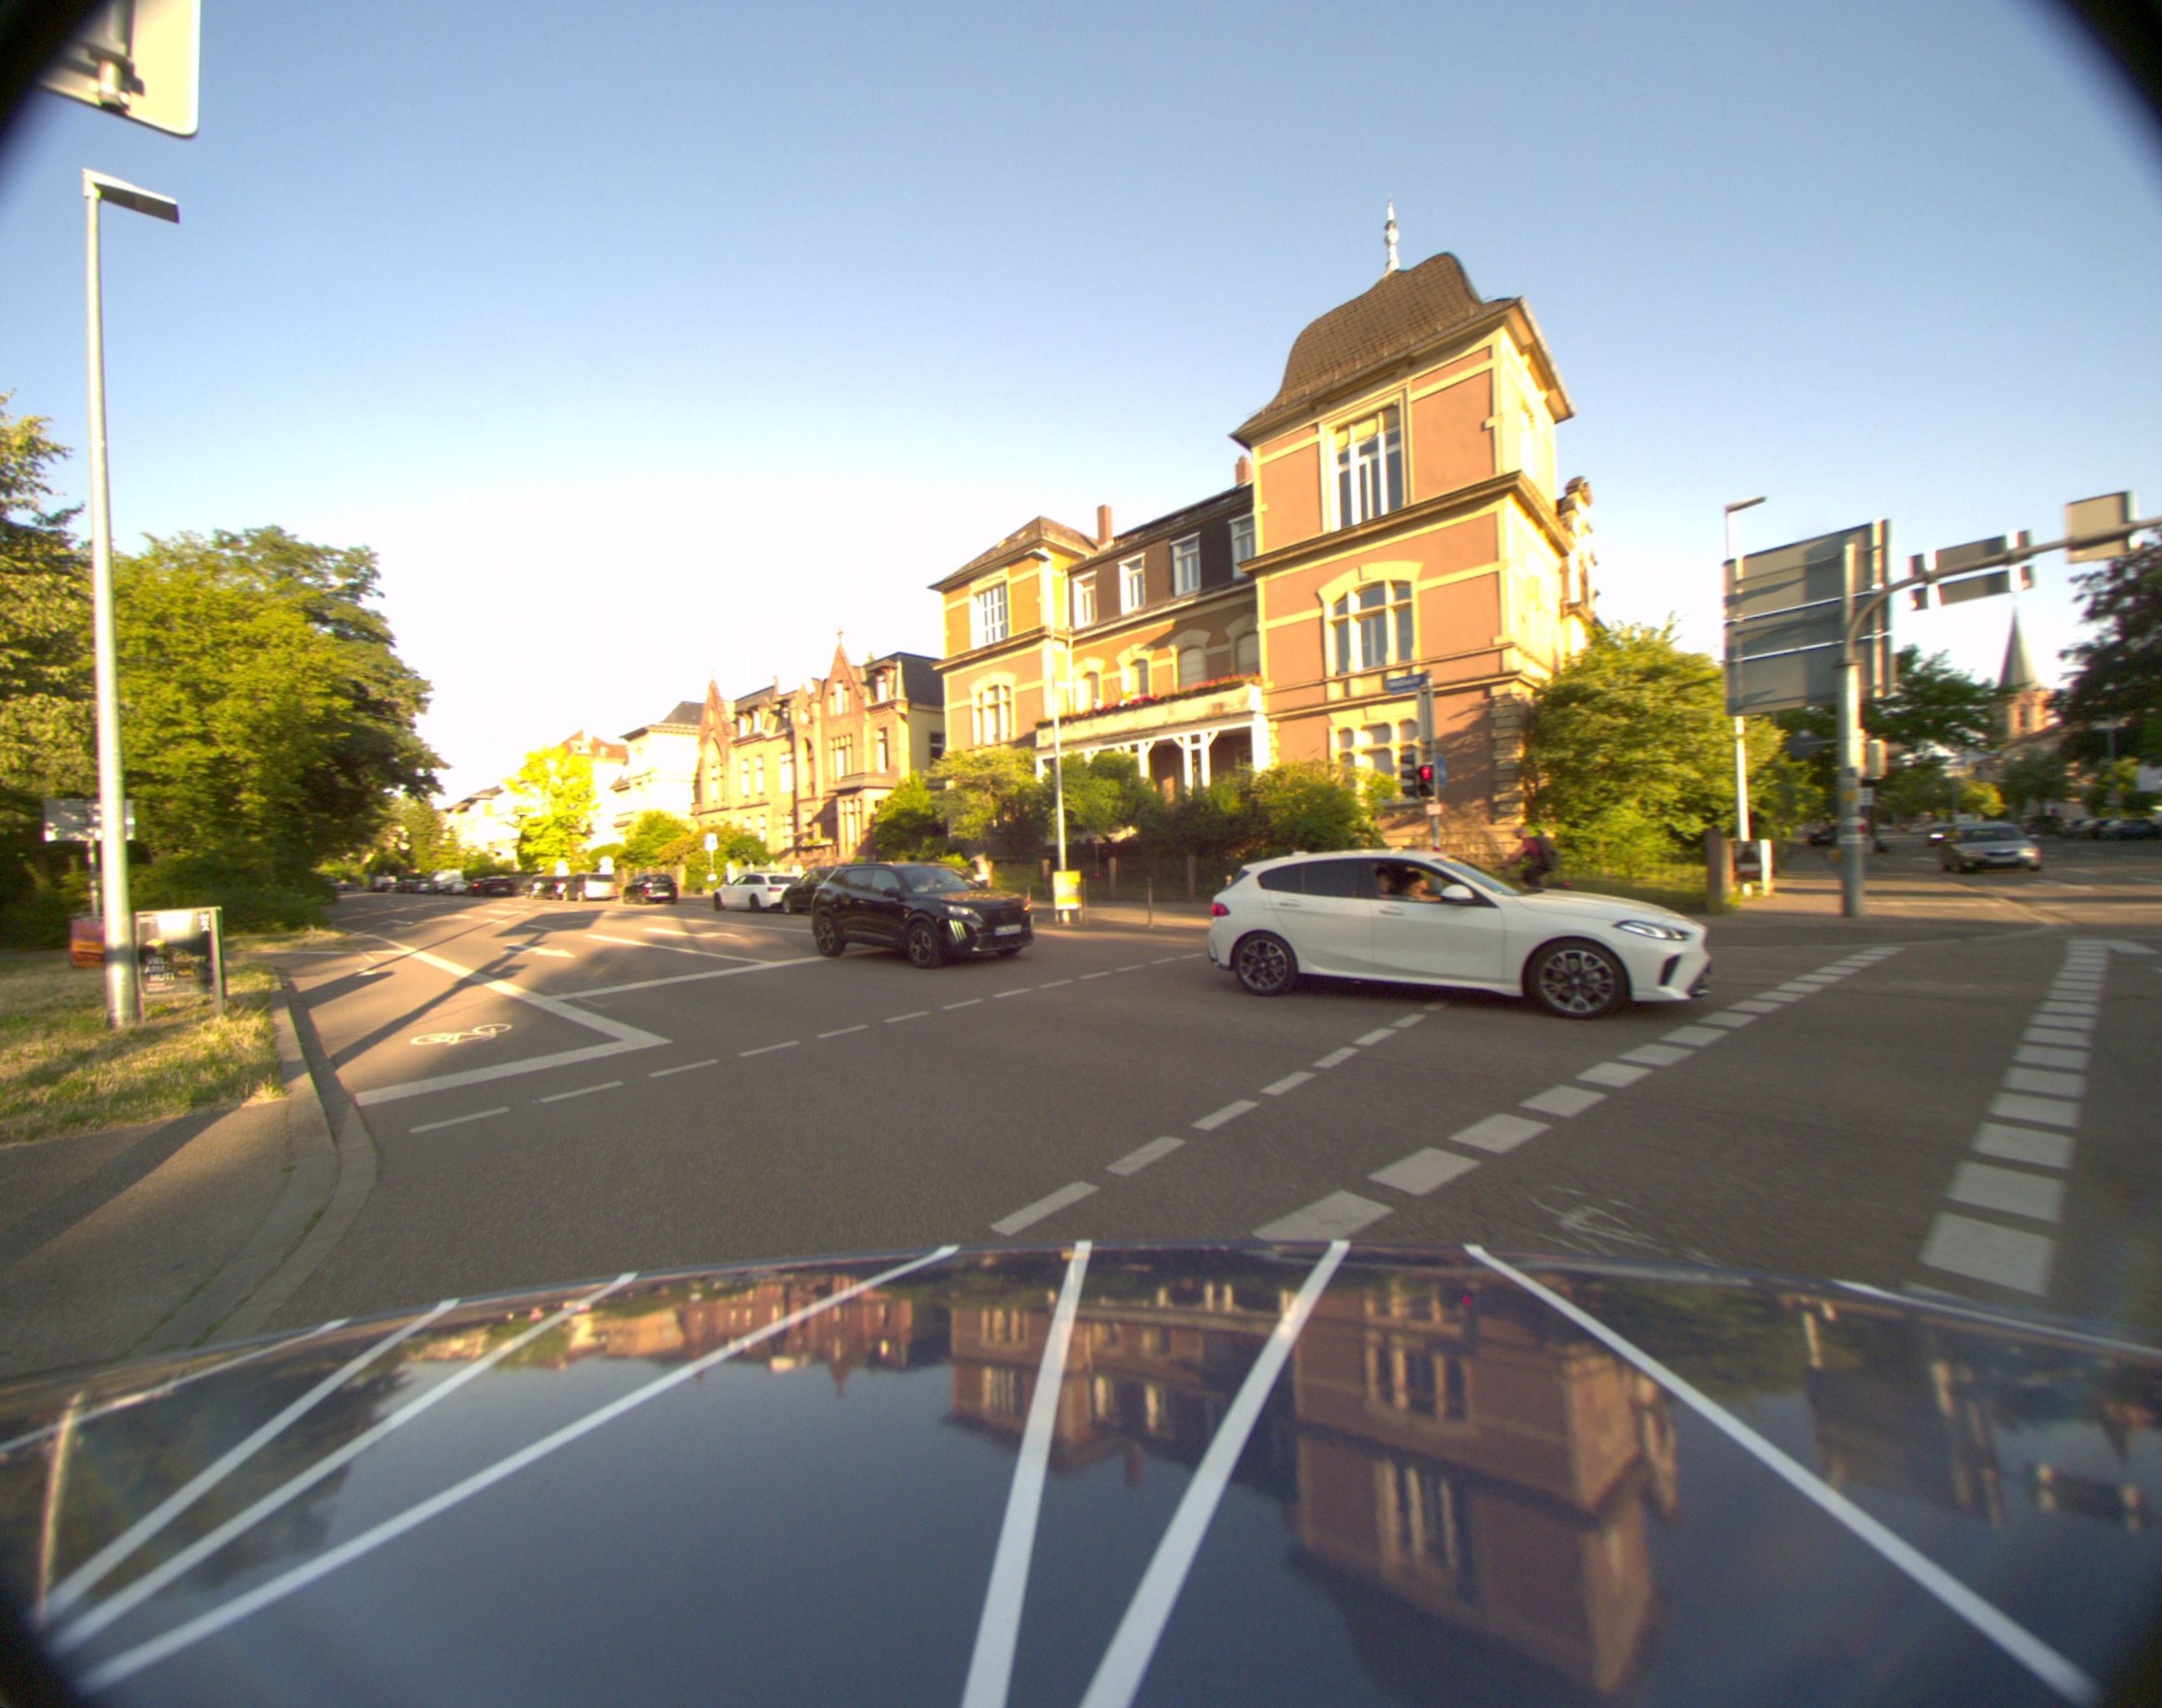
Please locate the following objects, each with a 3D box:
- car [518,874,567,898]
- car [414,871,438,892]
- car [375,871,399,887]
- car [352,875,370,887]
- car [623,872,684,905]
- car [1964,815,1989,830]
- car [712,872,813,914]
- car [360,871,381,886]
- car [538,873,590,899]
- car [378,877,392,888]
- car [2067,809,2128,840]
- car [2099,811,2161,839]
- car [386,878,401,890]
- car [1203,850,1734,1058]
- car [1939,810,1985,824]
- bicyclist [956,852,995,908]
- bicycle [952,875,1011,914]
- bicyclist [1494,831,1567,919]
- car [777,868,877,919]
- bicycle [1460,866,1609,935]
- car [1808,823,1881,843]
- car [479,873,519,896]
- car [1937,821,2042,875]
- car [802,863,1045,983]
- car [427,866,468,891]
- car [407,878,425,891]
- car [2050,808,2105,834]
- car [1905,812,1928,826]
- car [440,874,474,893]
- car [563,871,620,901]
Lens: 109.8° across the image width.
[{"bbox_3d":[-34.764,2.062,49.021,3.712,1.441,1.720,-2,0,41],"label":"car"},{"bbox_3d":[-71.940,3.021,83.433,3.789,2.253,1.575,-2,1,43],"label":"car"},{"bbox_3d":[-100.002,3.594,109.508,4.515,2.201,2.209,-2,0,43],"label":"car"},{"bbox_3d":[-129.613,4.853,136.791,3.989,2.002,2.003,-1,3,44],"label":"car"},{"bbox_3d":[-20.561,1.634,36.485,3.556,1.437,1.636,-2,0,45],"label":"car"},{"bbox_3d":[109.814,-3.804,93.228,1.673,1.718,3.644,-2,1,45],"label":"car"},{"bbox_3d":[-11.721,1.397,27.839,4.420,1.434,1.613,-2,-2,41],"label":"car"},{"bbox_3d":[-118.062,4.082,126.178,5.564,2.442,2.004,-2,1,42],"label":"car"},{"bbox_3d":[-31.330,1.939,46.034,3.712,1.441,1.720,-2,0,41],"label":"car"},{"bbox_3d":[-96.544,3.940,105.353,2.508,1.430,1.224,-2,0,43],"label":"car"},{"bbox_3d":[73.072,-2.160,54.707,1.994,2.002,4.007,-1,3,44],"label":"car"},{"bbox_3d":[69.497,-1.932,50.358,1.795,1.718,4.007,-2,2,45],"label":"car"},{"bbox_3d":[-88.820,3.878,98.182,2.508,1.430,1.224,-2,0,43],"label":"car"},{"bbox_3d":[3.498,0.772,7.388,4.177,1.457,1.761,-2,0,36],"label":"car"},{"bbox_3d":[112.521,-4.706,97.111,1.826,1.608,3.749,-3,1,-44],"label":"car"},{"bbox_3d":[-3.192,0.792,23.054,0.912,1.623,0.654,-1,3,43],"label":"bicyclist"},{"bbox_3d":[-3.024,1.212,22.930,1.898,1.083,0.661,-2,3,43],"label":"bicycle"},{"bbox_3d":[8.042,0.364,13.584,0.953,1.503,0.686,-2,2,43],"label":"bicyclist"},{"bbox_3d":[-8.358,1.257,24.863,3.712,1.525,1.637,-2,-2,45],"label":"car"},{"bbox_3d":[8.058,0.790,13.580,2.162,1.117,0.690,-1,2,43],"label":"bicycle"},{"bbox_3d":[61.411,-1.675,61.177,1.808,1.499,3.846,-3,2,-7],"label":"car"},{"bbox_3d":[-45.152,2.329,58.893,3.711,1.596,1.886,1,2,43],"label":"car"},{"bbox_3d":[28.708,-0.225,24.125,1.687,1.500,3.708,-5,-2,44],"label":"car"},{"bbox_3d":[-2.611,0.976,12.036,3.989,1.527,1.687,-2,0,42],"label":"car"},{"bbox_3d":[-62.831,2.459,75.297,5.863,2.355,2.237,-2,0,42],"label":"car"},{"bbox_3d":[-78.505,3.615,89.654,2.690,1.430,1.330,-2,0,43],"label":"car"},{"bbox_3d":[76.674,-2.533,58.514,1.994,1.806,4.007,-1,3,44],"label":"car"},{"bbox_3d":[112.350,-4.665,102.159,4.007,1.674,1.994,-5,3,-44],"label":"car"},{"bbox_3d":[-58.018,2.749,70.639,3.843,1.596,1.720,-2,0,40],"label":"car"},{"bbox_3d":[-27.507,1.787,42.655,3.743,1.579,1.720,-2,0,41],"label":"car"}]
